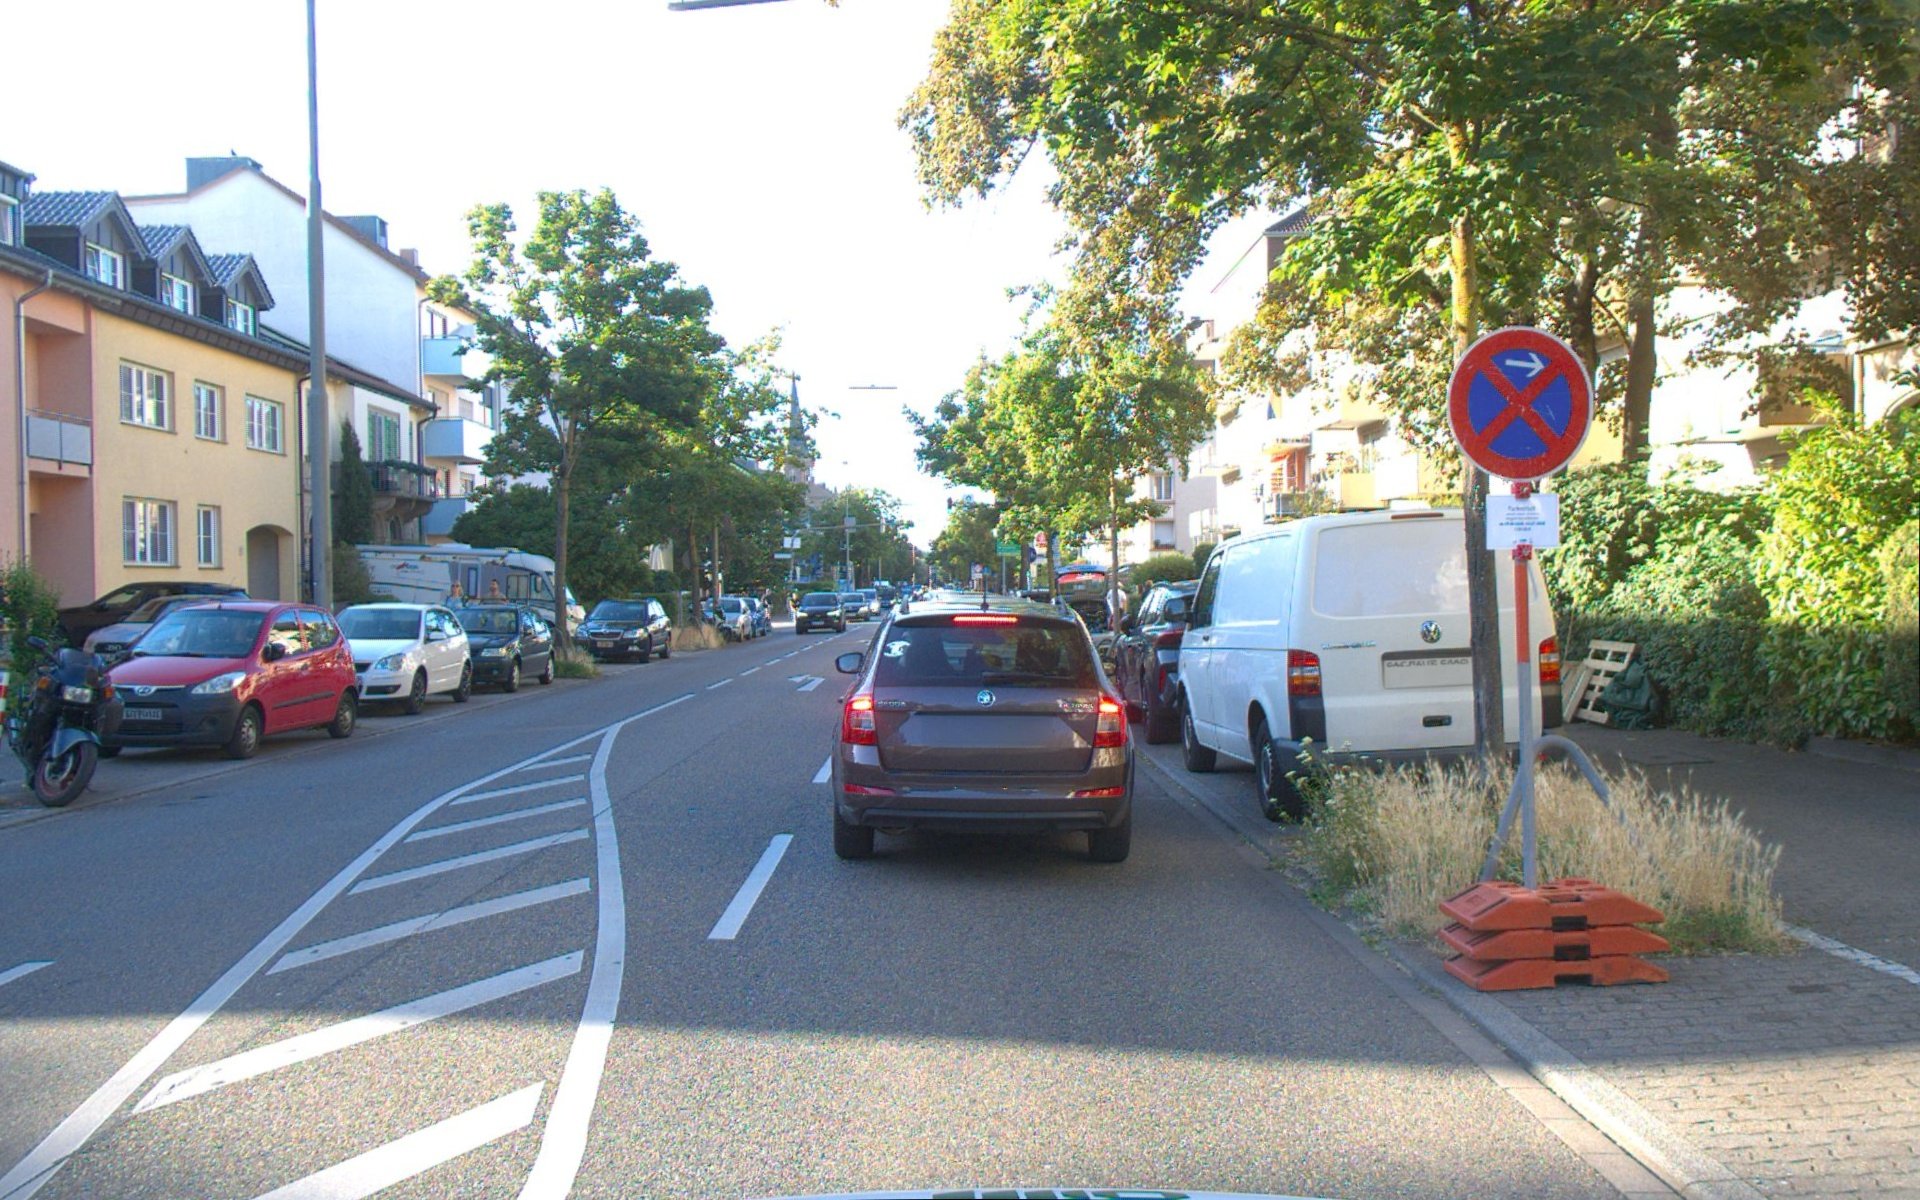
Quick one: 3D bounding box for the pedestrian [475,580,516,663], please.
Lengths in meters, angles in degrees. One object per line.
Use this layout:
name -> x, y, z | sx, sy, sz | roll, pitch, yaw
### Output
pedestrian -> -10.412, 0.476, 37.077 | 0.699, 1.824, 0.572 | -1, 0, 2

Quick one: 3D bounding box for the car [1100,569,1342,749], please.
car -> 2.711, 0.556, 18.155 | 1.818, 1.631, 4.310 | -3, 0, -1

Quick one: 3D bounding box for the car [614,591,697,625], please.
car -> -17.879, 0.460, 97.212 | 4.540, 1.843, 1.861 | -1, 0, -1

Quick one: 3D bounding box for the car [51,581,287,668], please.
car -> -16.223, 0.487, 34.056 | 3.905, 1.664, 1.866 | 1, 0, 0

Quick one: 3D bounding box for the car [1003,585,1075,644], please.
car -> 2.284, 0.399, 48.780 | 1.818, 1.609, 4.012 | -3, 0, -1

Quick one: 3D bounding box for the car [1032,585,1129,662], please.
car -> 2.591, 0.483, 36.399 | 1.673, 1.506, 4.267 | -3, 0, -1

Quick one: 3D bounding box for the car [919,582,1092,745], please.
car -> 0.460, 0.622, 18.510 | 1.701, 1.598, 4.000 | 1, 0, 0

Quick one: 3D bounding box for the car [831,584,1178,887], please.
car -> 0.186, 0.670, 10.467 | 1.737, 1.515, 4.310 | 0, 0, -1

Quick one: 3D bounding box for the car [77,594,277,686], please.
car -> -13.586, 0.653, 28.921 | 1.630, 1.433, 3.753 | -2, 0, 1

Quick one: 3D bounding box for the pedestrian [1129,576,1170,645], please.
pedestrian -> 4.700, 0.261, 41.013 | 0.742, 1.668, 0.693 | -1, 0, 36

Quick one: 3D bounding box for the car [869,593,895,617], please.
car -> -6.617, 0.413, 140.219 | 1.953, 1.942, 4.963 | -3, 0, -1

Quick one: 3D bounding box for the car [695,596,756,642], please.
car -> -8.054, 0.622, 57.014 | 1.561, 1.496, 3.803 | 1, 0, -1

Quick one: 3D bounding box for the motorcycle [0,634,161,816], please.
motorcycle -> -7.248, 0.958, 13.561 | 1.164, 1.288, 2.352 | -1, 0, -24

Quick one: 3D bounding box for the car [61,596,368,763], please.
car -> -7.672, 0.746, 17.366 | 1.560, 1.550, 3.437 | -1, 0, 2

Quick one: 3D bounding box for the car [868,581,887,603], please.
car -> -9.778, -0.932, 196.102 | 1.953, 2.521, 3.999 | -1, 0, -1

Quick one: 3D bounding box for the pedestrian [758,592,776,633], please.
pedestrian -> -9.625, 0.618, 82.581 | 0.764, 2.022, 0.821 | -1, 0, 0

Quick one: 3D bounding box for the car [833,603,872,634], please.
car -> -5.649, 0.965, 87.574 | 1.725, 1.477, 4.533 | -3, 0, -1

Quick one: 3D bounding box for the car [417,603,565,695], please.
car -> -7.941, 0.786, 28.294 | 1.511, 1.421, 3.665 | -1, 0, -1

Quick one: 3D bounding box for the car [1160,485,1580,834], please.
car -> 2.833, 0.354, 12.597 | 1.865, 2.140, 4.639 | -1, 0, -2

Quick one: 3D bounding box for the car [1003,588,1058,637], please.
car -> 2.288, 0.392, 54.405 | 1.668, 1.475, 4.014 | -3, 0, 1

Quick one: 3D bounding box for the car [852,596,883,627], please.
car -> -5.996, 0.714, 107.363 | 1.769, 1.836, 4.744 | -3, 0, -1

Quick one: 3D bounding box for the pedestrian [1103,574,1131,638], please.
pedestrian -> 4.470, 0.174, 47.073 | 0.649, 1.779, 0.772 | -2, 0, -1

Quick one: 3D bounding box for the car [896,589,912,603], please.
car -> -6.692, -0.451, 197.715 | 1.793, 1.607, 4.000 | -1, 0, -1

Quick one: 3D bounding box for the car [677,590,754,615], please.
car -> -15.283, 0.163, 103.487 | 4.540, 1.562, 1.861 | 0, 0, -1

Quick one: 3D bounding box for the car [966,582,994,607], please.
car -> 1.500, -0.403, 123.796 | 1.952, 1.803, 4.001 | 1, 0, 2

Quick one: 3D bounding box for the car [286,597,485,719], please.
car -> -8.047, 0.755, 23.523 | 1.561, 1.550, 3.889 | -1, 0, -2

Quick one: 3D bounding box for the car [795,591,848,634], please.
car -> -5.501, 0.493, 66.059 | 1.798, 1.597, 3.999 | -3, 0, -1

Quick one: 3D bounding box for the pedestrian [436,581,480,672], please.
pedestrian -> -10.254, 0.533, 33.797 | 0.699, 1.824, 0.506 | -1, 0, 2

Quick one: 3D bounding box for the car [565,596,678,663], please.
car -> -8.160, 0.669, 40.199 | 1.829, 1.520, 4.517 | 1, 0, 0

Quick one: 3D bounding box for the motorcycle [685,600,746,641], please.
motorcycle -> -7.889, 0.657, 53.307 | 2.015, 1.287, 0.764 | -1, 0, 38

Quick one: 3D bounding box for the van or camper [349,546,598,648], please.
van or camper -> -14.394, -0.095, 49.305 | 6.660, 2.821, 2.351 | 1, 0, -2

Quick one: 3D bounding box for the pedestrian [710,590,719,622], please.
pedestrian -> -14.500, 0.355, 97.799 | 0.440, 1.828, 0.504 | -1, 0, 0

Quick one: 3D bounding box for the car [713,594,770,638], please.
car -> -8.101, 0.573, 61.643 | 1.615, 1.544, 4.073 | 0, 0, -1
